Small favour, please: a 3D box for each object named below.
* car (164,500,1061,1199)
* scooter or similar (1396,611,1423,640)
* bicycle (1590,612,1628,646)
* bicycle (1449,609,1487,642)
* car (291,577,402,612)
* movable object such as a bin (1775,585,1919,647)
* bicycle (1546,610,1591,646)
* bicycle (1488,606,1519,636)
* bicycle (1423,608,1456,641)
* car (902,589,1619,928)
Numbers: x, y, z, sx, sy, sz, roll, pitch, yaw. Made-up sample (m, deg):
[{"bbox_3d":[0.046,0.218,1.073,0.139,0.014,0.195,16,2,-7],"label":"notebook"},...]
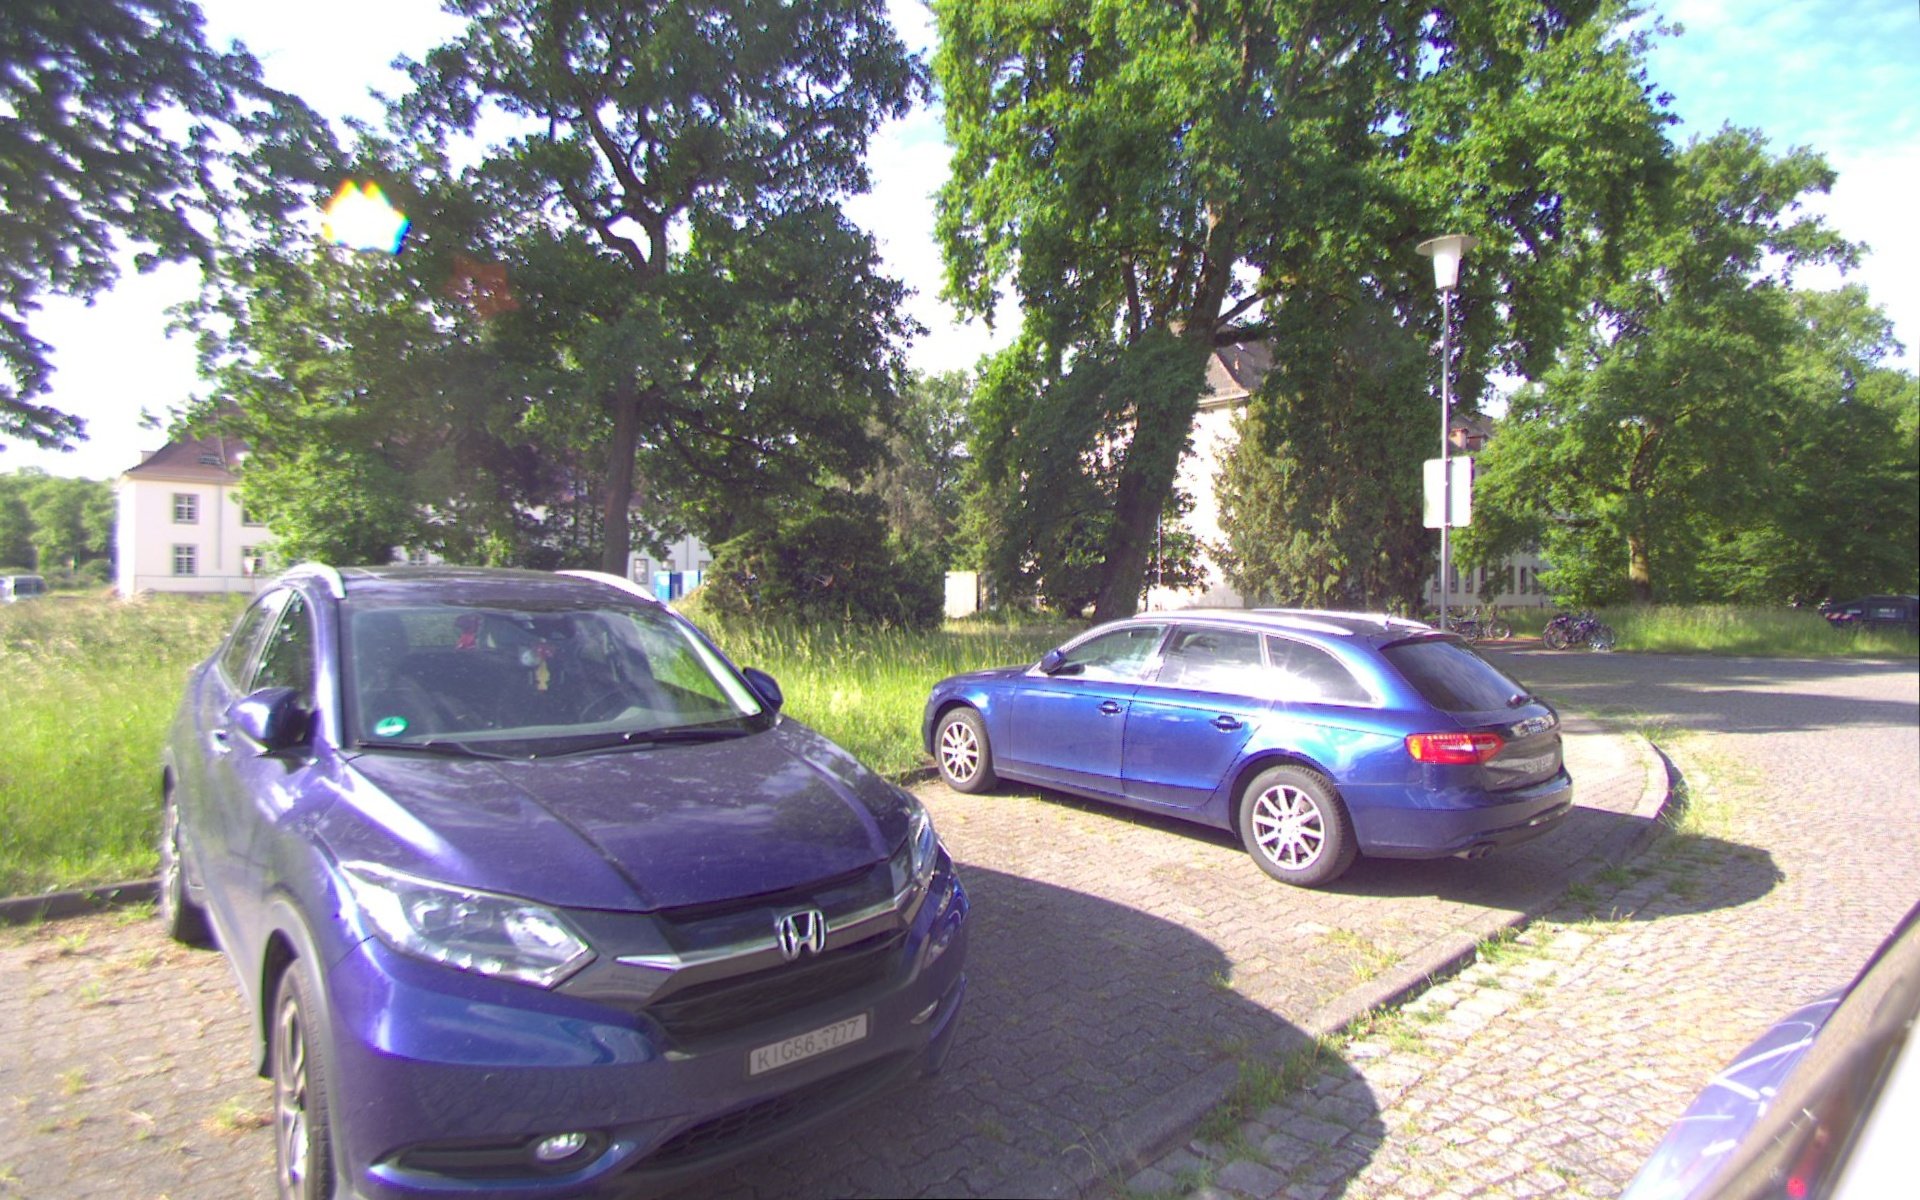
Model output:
[{"bbox_3d":[-1.750,0.611,3.872,1.722,1.611,4.182,0,0,-43],"label":"car"},{"bbox_3d":[14.886,0.852,33.530,0.767,0.941,0.257,0,0,42],"label":"scooter or similar"},{"bbox_3d":[19.221,0.849,29.970,0.745,0.946,1.122,0,0,44],"label":"bicycle"},{"bbox_3d":[16.665,0.821,33.196,1.008,1.029,0.711,0,0,-35],"label":"bicycle"},{"bbox_3d":[-40.519,-0.387,67.048,5.889,2.199,2.381,-1,0,-20],"label":"car"},{"bbox_3d":[27.904,0.443,30.426,1.959,1.781,4.947,0,0,-28],"label":"movable object such as a bin"},{"bbox_3d":[18.289,0.835,30.409,1.232,1.029,0.711,0,0,-36],"label":"bicycle"},{"bbox_3d":[19.426,0.745,36.184,0.699,1.029,1.024,0,0,10],"label":"bicycle"},{"bbox_3d":[15.888,0.802,33.510,1.009,1.029,0.618,0,0,-40],"label":"bicycle"},{"bbox_3d":[1.634,0.709,6.873,1.684,1.425,4.458,0,2,-41],"label":"car"}]
